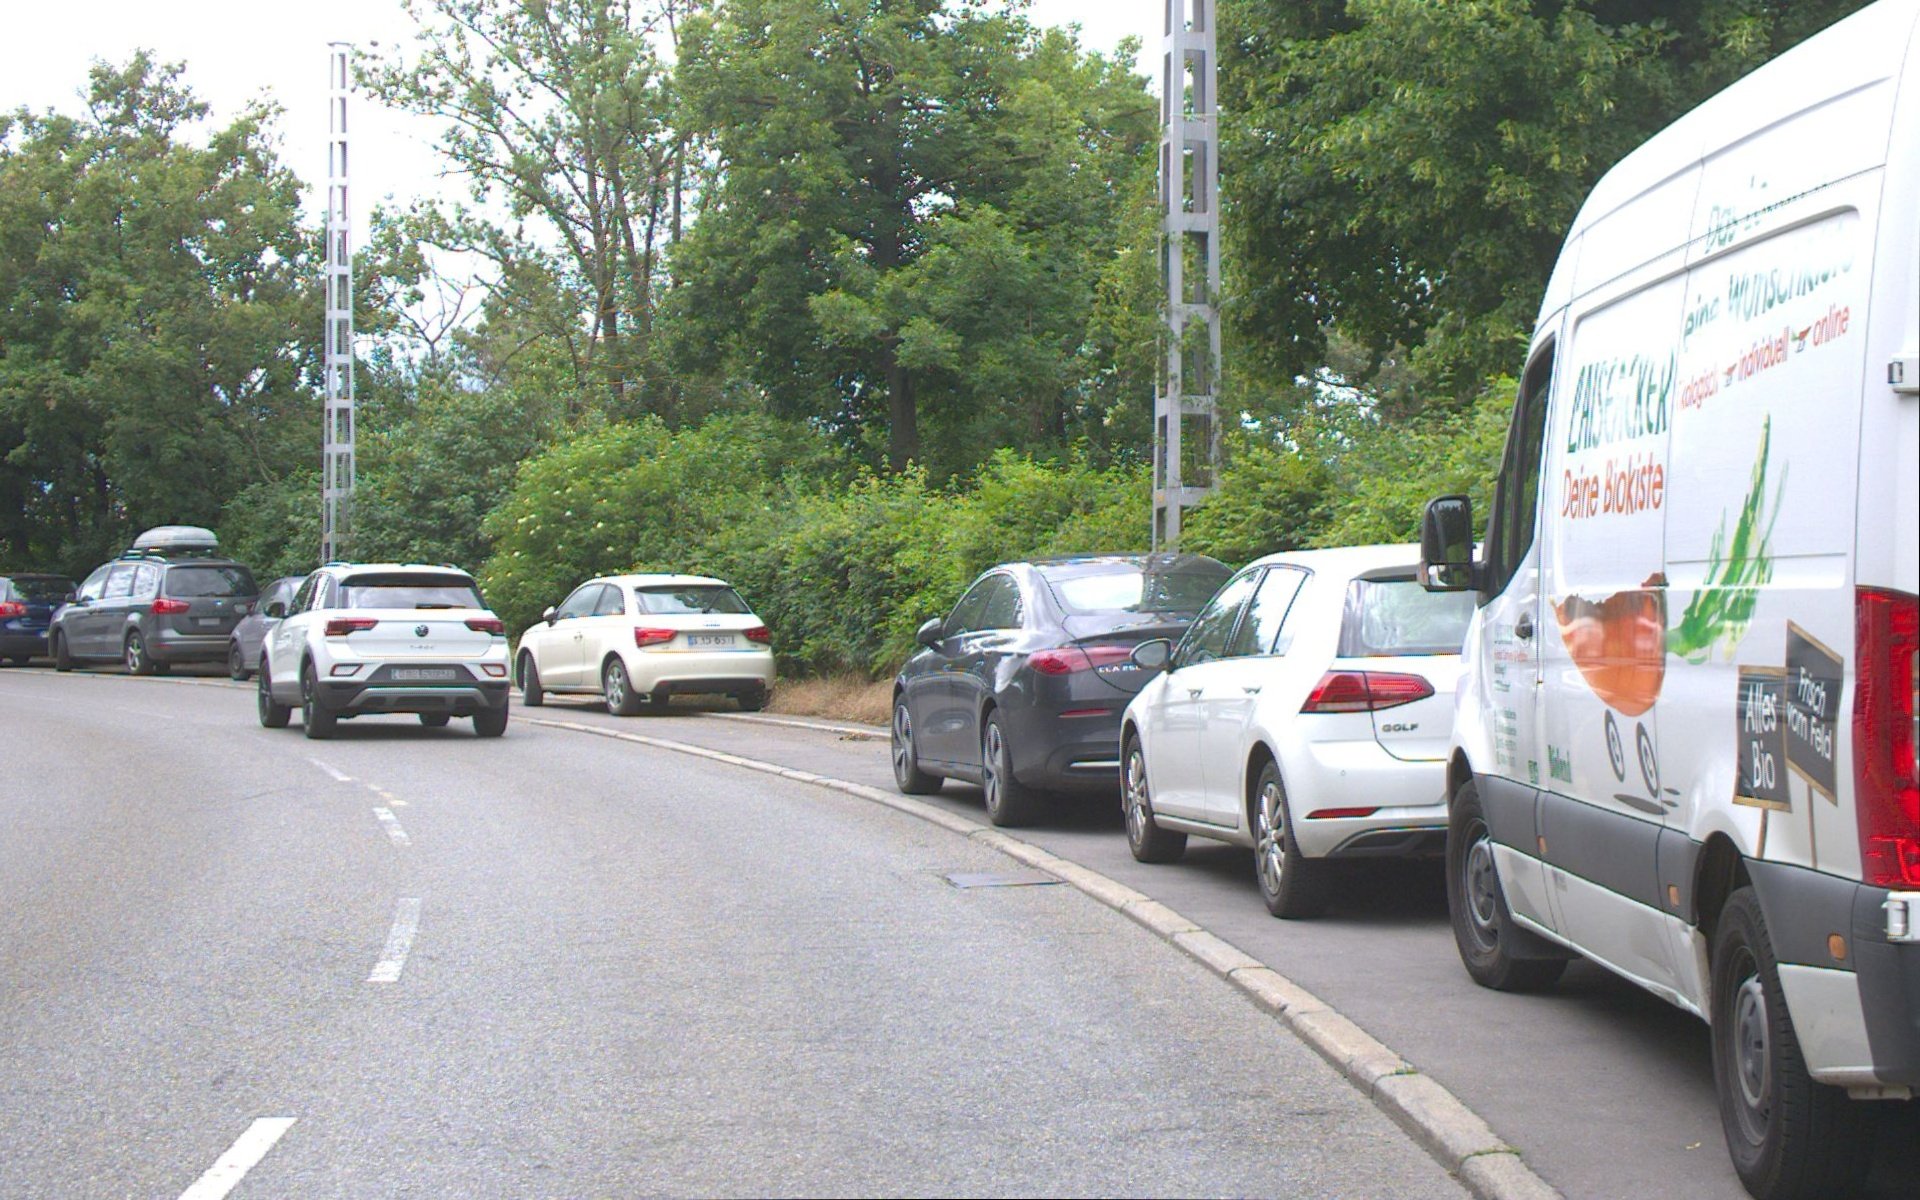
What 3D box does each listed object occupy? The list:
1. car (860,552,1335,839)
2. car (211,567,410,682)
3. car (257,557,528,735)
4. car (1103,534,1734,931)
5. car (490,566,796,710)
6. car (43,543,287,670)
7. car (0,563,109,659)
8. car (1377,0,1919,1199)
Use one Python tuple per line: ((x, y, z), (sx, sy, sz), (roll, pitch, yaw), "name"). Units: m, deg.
((0.656, 0.458, 20.024), (1.700, 1.459, 4.665), (0, 1, -11), "car")
((-8.767, 0.316, 46.170), (1.640, 1.459, 4.001), (1, -1, -25), "car")
((-5.272, 0.370, 31.569), (1.866, 1.531, 3.804), (0, 1, -19), "car")
((1.810, 0.477, 14.790), (1.700, 1.459, 3.836), (-1, 0, -8), "car")
((-3.414, 0.364, 36.367), (1.777, 1.413, 4.000), (-1, 1, -28), "car")
((-11.784, 0.081, 50.782), (1.798, 1.766, 4.606), (2, 0, -36), "car")
((-15.363, 0.158, 55.660), (1.660, 1.482, 4.034), (2, 0, -36), "car")
((2.591, -0.001, 9.245), (2.084, 2.515, 5.845), (-2, 1, -1), "car")
